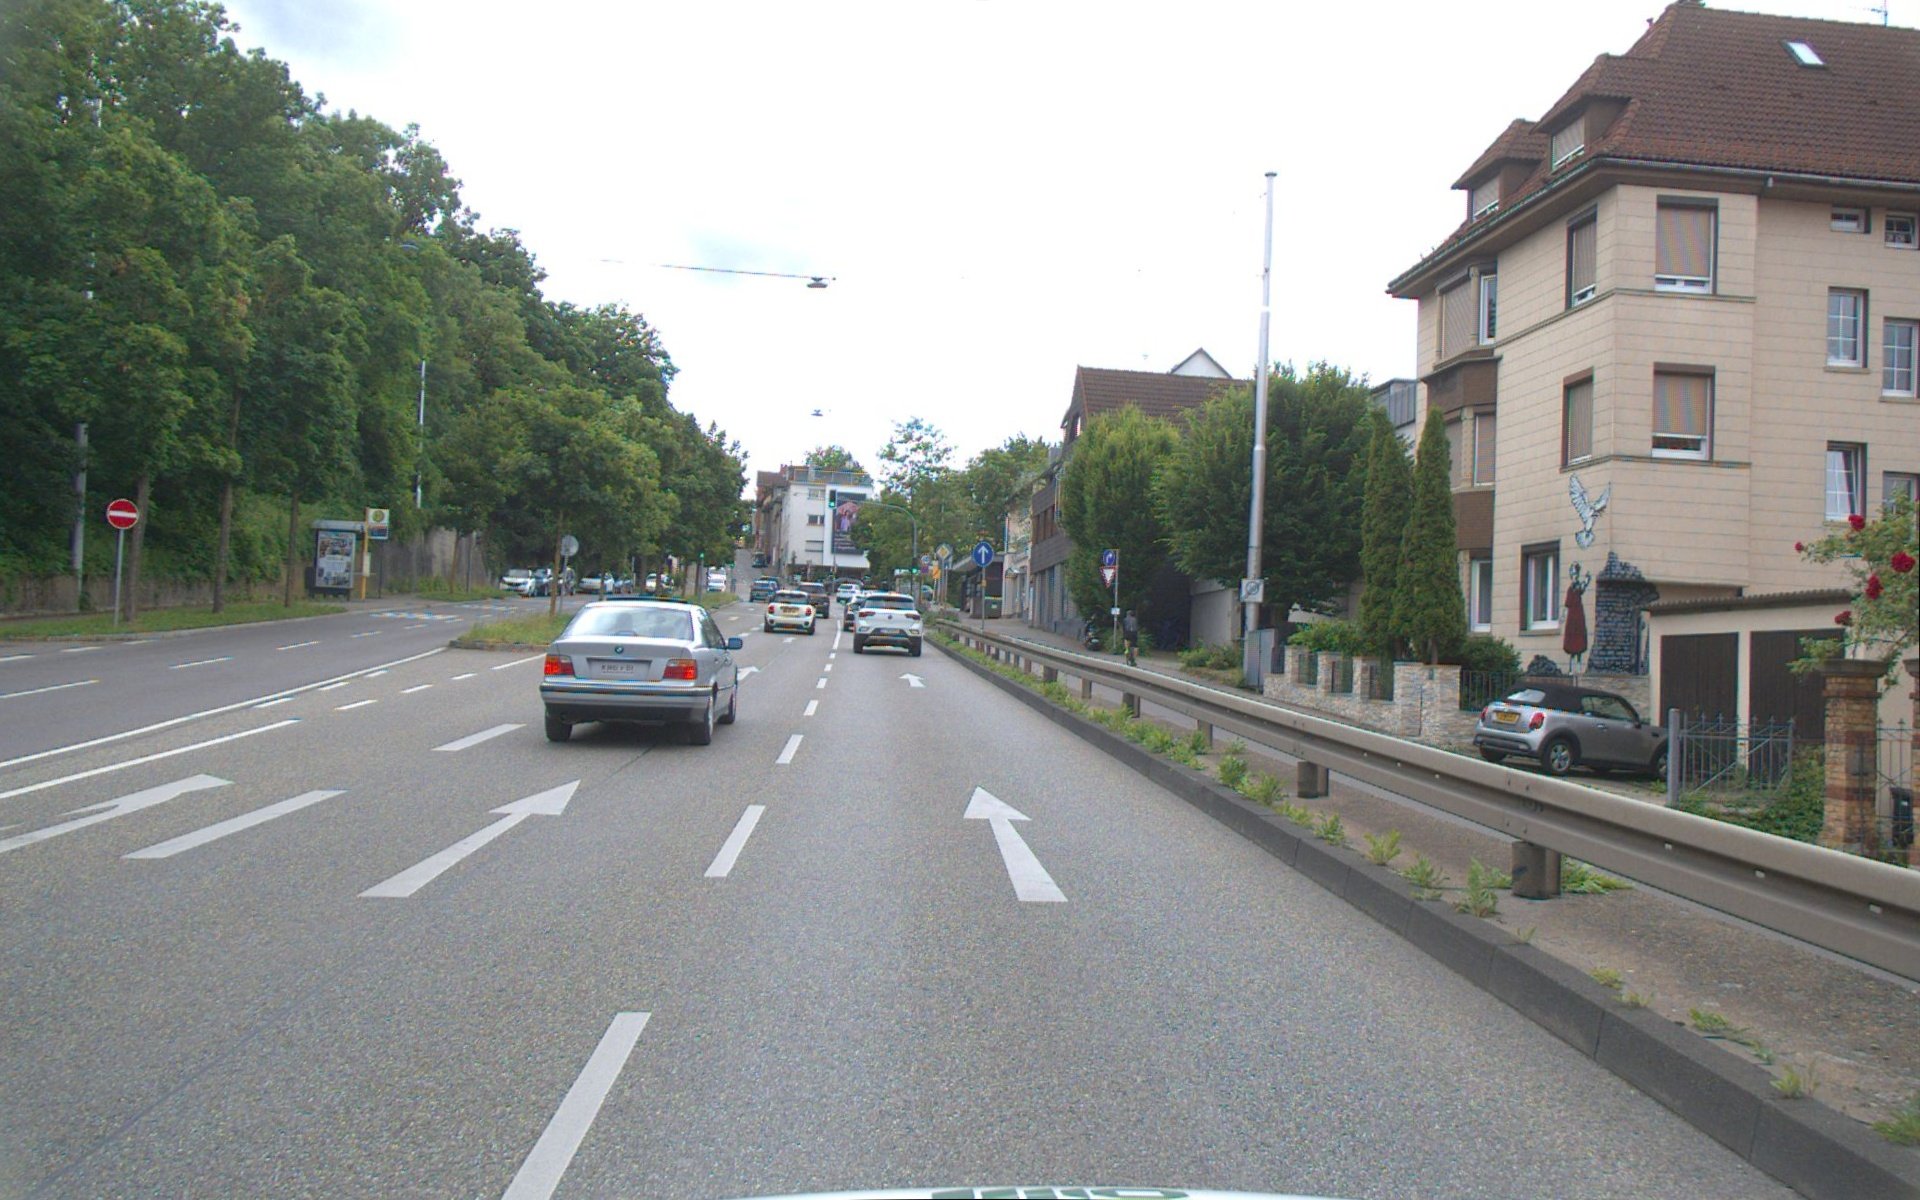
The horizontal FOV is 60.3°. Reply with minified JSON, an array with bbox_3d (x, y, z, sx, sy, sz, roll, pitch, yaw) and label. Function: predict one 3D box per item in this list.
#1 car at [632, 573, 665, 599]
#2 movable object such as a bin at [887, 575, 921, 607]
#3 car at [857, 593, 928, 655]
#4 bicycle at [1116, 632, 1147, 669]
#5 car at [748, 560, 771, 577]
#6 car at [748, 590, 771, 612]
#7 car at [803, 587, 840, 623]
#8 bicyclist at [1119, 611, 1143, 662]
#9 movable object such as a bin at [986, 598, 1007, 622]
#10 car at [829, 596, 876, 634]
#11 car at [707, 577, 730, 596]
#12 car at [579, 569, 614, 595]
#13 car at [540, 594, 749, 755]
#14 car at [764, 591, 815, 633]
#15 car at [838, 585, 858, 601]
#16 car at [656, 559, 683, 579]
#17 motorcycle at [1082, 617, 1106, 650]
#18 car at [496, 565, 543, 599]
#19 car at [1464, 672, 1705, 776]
[{"bbox_3d":[-22.410,-1.027,119.144,1.824,1.699,4.275,4,1,-5],"label":"car"},{"bbox_3d":[-3.677,-0.593,107.825,1.859,1.902,1.524,4,0,-13],"label":"movable object such as a bin"},{"bbox_3d":[-1.795,0.607,43.329,1.761,1.545,3.454,0,0,-4],"label":"car"},{"bbox_3d":[5.320,1.561,51.467,0.555,1.081,2.003,0,1,-6],"label":"bicycle"},{"bbox_3d":[-25.335,-3.987,209.619,2.461,2.048,5.178,4,1,-4],"label":"car"},{"bbox_3d":[-14.733,0.057,121.697,1.690,1.610,3.451,0,0,-7],"label":"car"},{"bbox_3d":[-6.721,0.252,80.055,1.690,1.668,3.451,0,0,-7],"label":"car"},{"bbox_3d":[5.302,1.120,51.389,0.555,1.551,0.958,0,1,-6],"label":"bicyclist"},{"bbox_3d":[2.320,0.613,105.167,1.172,1.432,0.710,4,0,-5],"label":"movable object such as a bin"},{"bbox_3d":[-4.127,0.570,63.193,1.689,1.400,3.452,0,0,-6],"label":"car"},{"bbox_3d":[-21.624,-1.219,148.200,1.824,1.567,4.274,4,1,-6],"label":"car"},{"bbox_3d":[-25.064,-1.269,114.155,1.824,1.621,4.274,4,1,-6],"label":"car"},{"bbox_3d":[-3.202,0.684,17.571,1.602,1.407,4.616,2,0,-4],"label":"car"},{"bbox_3d":[-5.833,0.415,56.791,1.689,1.400,3.452,0,0,-5],"label":"car"},{"bbox_3d":[-9.849,-0.585,145.808,1.689,1.400,3.453,0,0,-5],"label":"car"},{"bbox_3d":[-24.144,-2.583,137.732,1.824,1.567,4.274,4,1,-6],"label":"car"},{"bbox_3d":[5.058,1.247,62.568,0.596,1.182,2.039,1,1,-3],"label":"motorcycle"},{"bbox_3d":[-24.426,-1.018,91.831,1.824,1.699,4.274,4,1,-6],"label":"car"},{"bbox_3d":[10.585,2.102,28.065,3.551,1.460,1.694,5,-1,-21],"label":"car"}]
